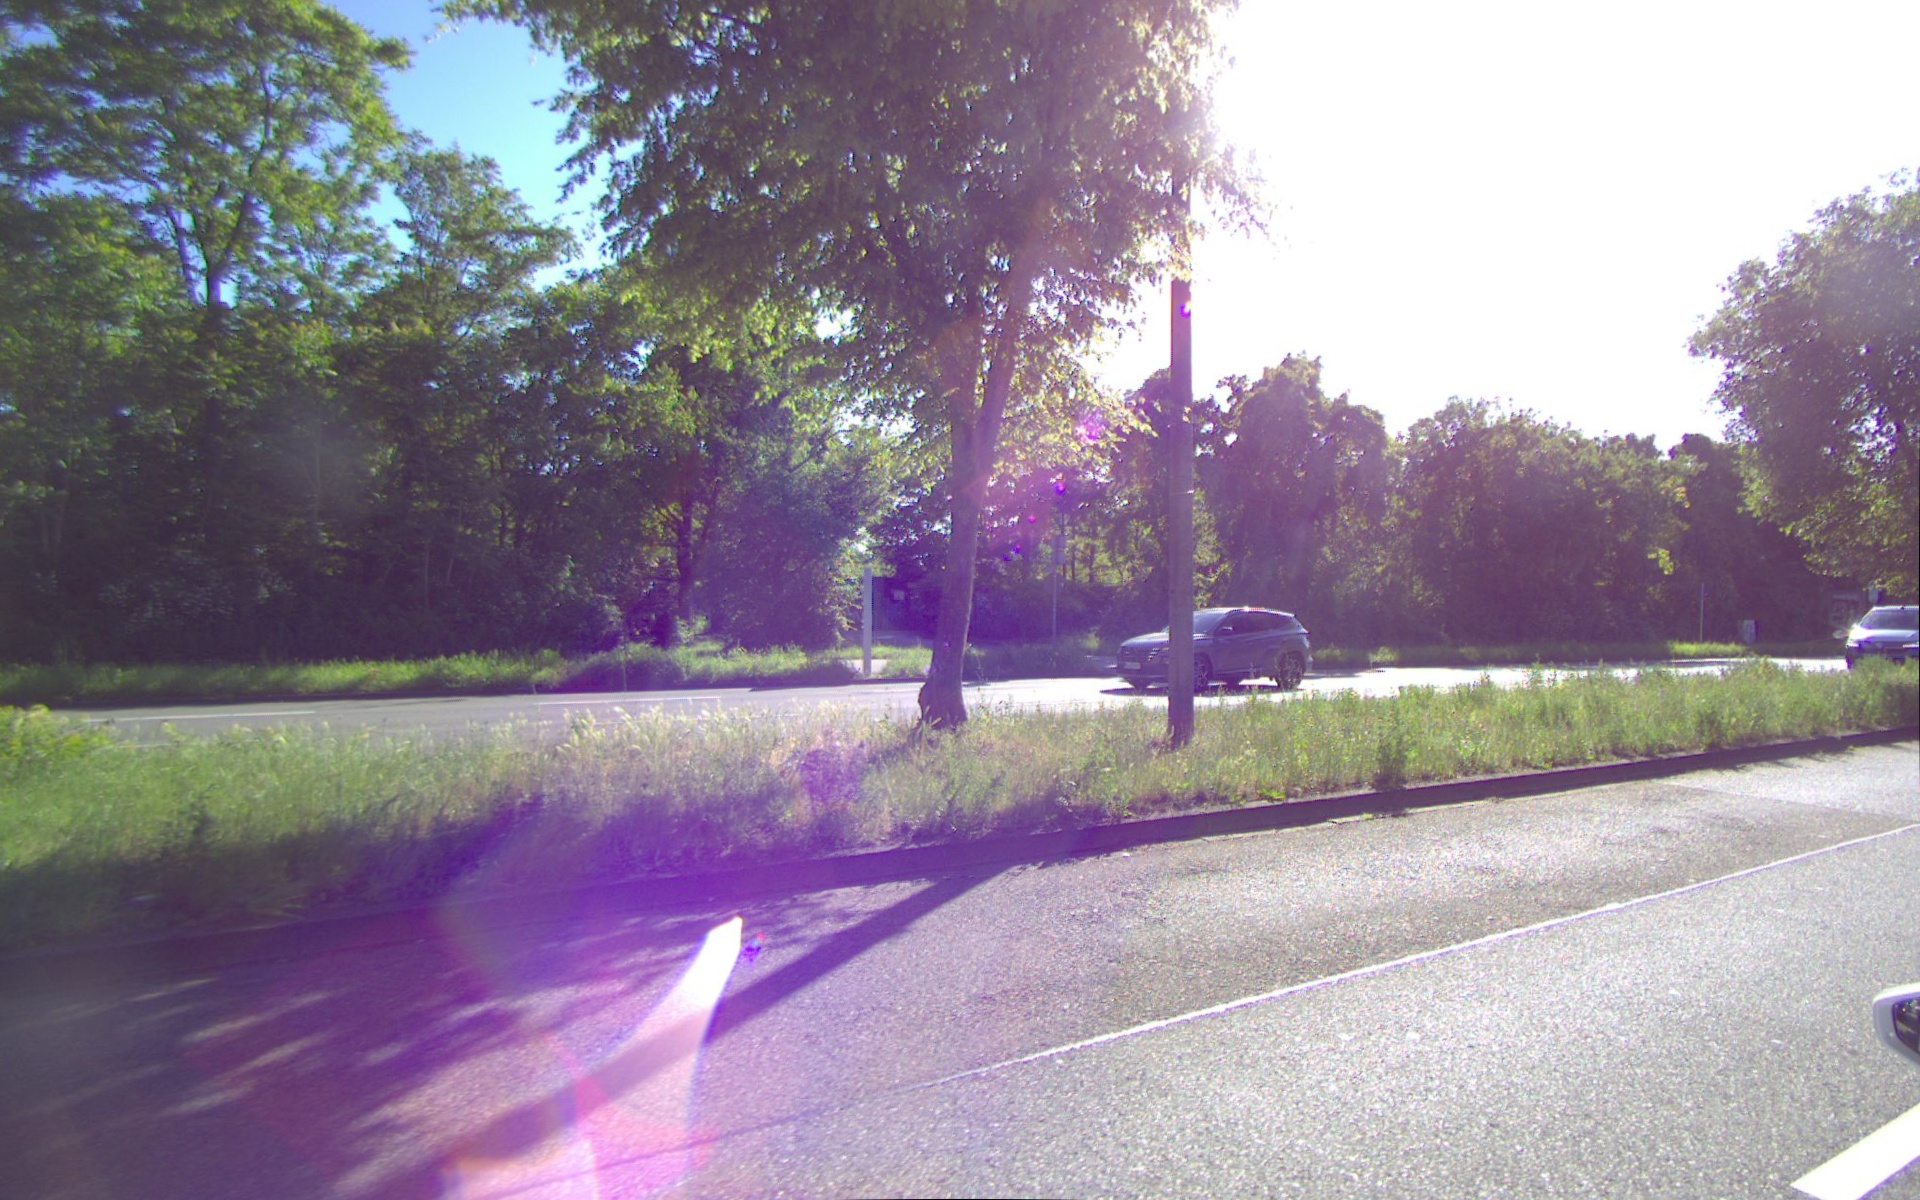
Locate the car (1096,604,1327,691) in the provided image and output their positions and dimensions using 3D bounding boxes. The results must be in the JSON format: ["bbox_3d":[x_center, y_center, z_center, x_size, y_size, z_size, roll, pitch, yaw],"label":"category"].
[{"bbox_3d":[5.251,0.965,20.884,4.538,1.573,1.973,2,1,-30],"label":"car"}]

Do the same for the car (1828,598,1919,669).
[{"bbox_3d":[28.037,0.993,29.732,5.184,1.954,1.984,2,-1,-31],"label":"car"}]
